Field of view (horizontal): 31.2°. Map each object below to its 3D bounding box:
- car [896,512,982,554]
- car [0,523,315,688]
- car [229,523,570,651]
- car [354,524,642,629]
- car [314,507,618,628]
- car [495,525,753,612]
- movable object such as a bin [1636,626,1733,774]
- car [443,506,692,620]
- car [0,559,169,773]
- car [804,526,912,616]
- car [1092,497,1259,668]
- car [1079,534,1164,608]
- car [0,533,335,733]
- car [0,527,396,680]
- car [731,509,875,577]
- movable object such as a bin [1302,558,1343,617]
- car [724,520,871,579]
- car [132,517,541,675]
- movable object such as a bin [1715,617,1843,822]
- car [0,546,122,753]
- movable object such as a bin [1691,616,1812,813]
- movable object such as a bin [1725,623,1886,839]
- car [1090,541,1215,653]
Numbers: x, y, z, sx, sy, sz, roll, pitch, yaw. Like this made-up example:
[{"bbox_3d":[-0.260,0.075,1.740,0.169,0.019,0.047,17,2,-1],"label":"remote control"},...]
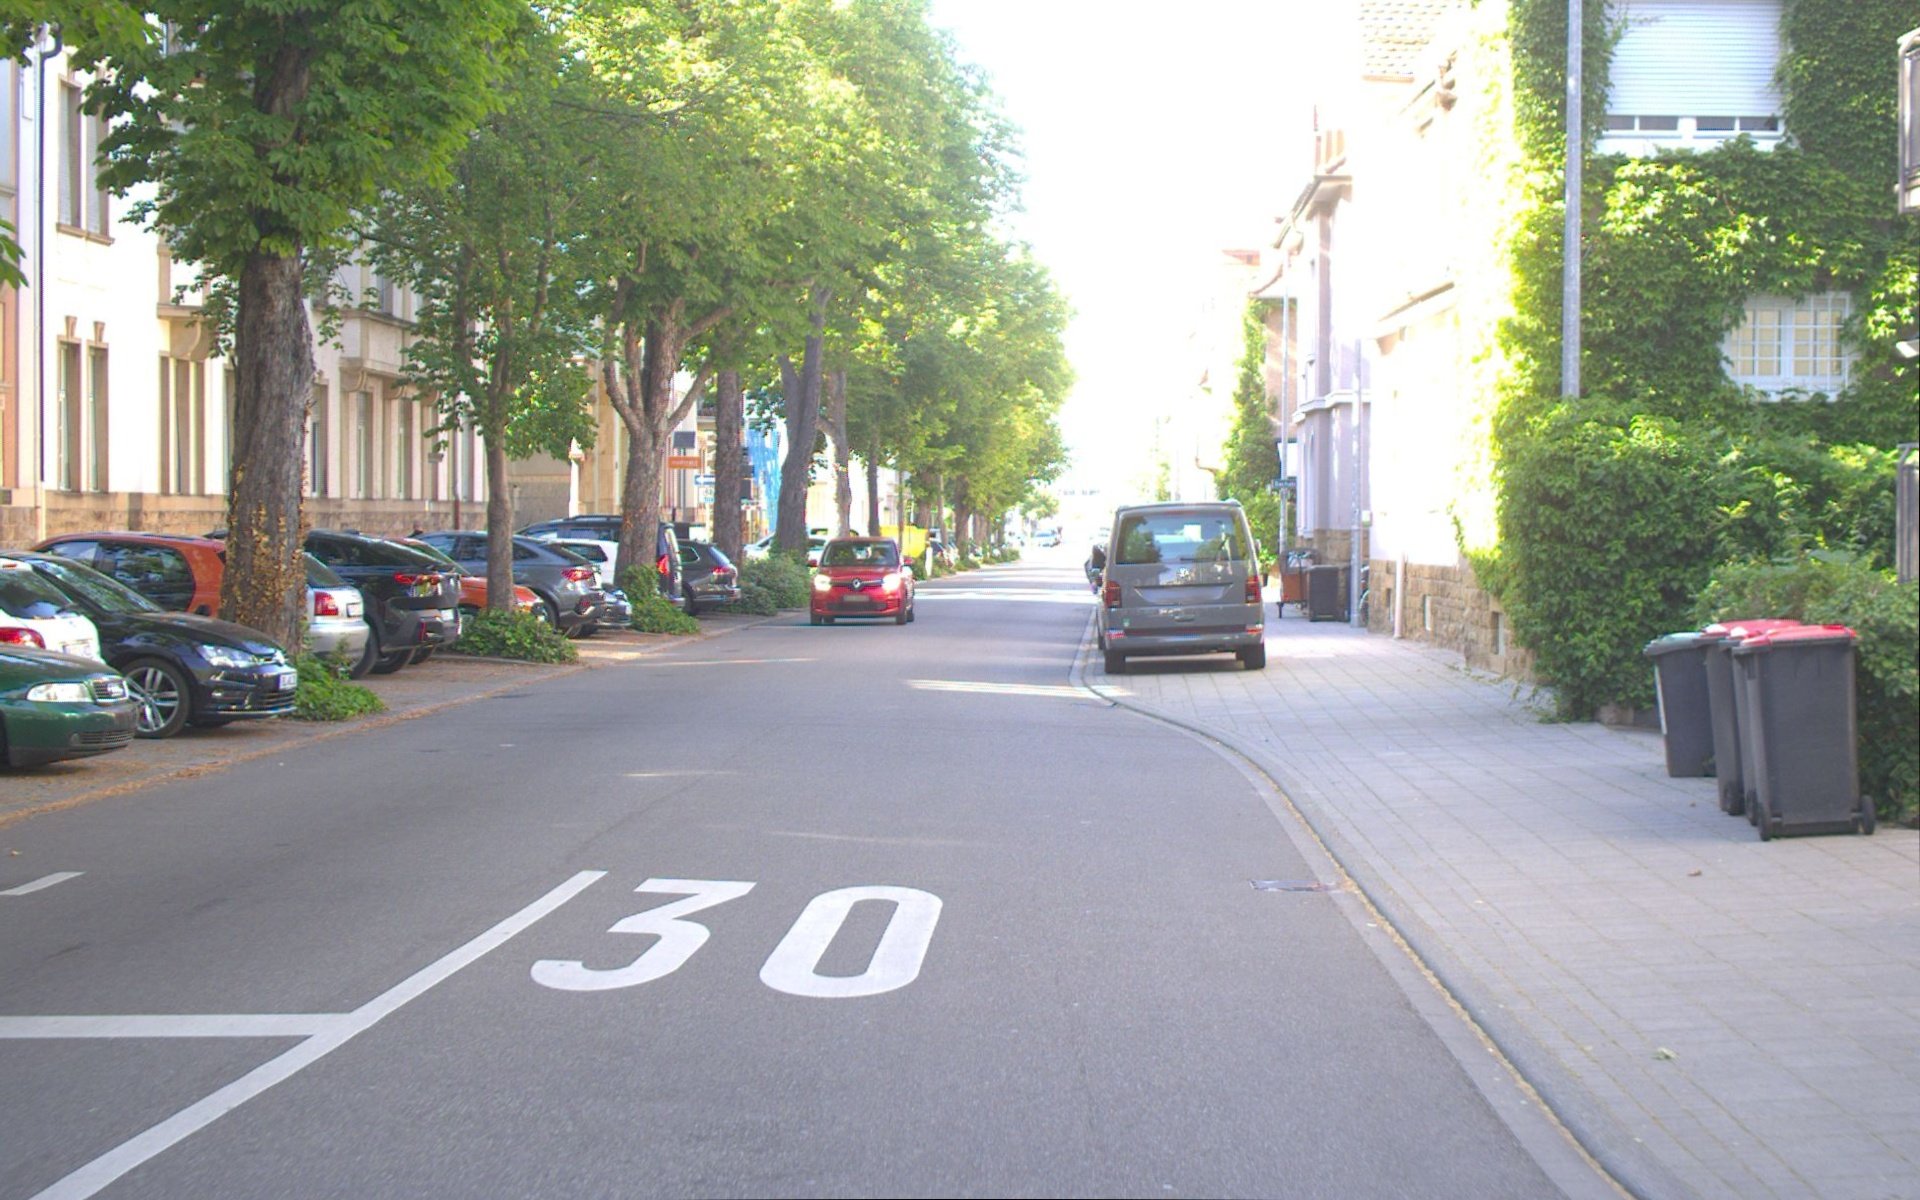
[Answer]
[{"bbox_3d":[-1.028,-3.310,169.321,4.007,1.834,2.000,3,2,5],"label":"car"},{"bbox_3d":[-8.306,0.047,32.626,3.987,1.502,1.722,0,1,4],"label":"car"},{"bbox_3d":[-7.091,-0.172,43.737,3.987,1.509,1.747,1,0,2],"label":"car"},{"bbox_3d":[-6.900,-0.373,51.573,3.903,1.441,1.859,2,1,7],"label":"car"},{"bbox_3d":[-7.002,-0.479,48.986,3.987,1.587,1.859,2,1,2],"label":"car"},{"bbox_3d":[-6.172,-0.591,63.454,4.532,1.498,1.892,1,1,1],"label":"car"},{"bbox_3d":[4.724,0.648,22.426,0.503,0.912,0.573,-3,1,4],"label":"movable object such as a bin"},{"bbox_3d":[-6.669,-0.637,58.669,3.979,1.849,1.829,1,1,1],"label":"car"},{"bbox_3d":[-7.565,0.378,22.769,4.212,1.344,1.703,1,0,2],"label":"car"},{"bbox_3d":[-1.763,-0.526,60.212,1.641,1.503,3.702,-1,1,2],"label":"car"},{"bbox_3d":[2.554,-0.251,41.387,1.865,1.909,4.782,1,1,3],"label":"car"},{"bbox_3d":[3.549,-0.671,76.177,1.699,1.534,4.155,-2,1,1],"label":"car"},{"bbox_3d":[-7.195,0.222,27.467,3.987,1.477,1.785,1,1,4],"label":"car"},{"bbox_3d":[-7.924,0.014,34.908,3.987,1.398,1.830,2,1,4],"label":"car"},{"bbox_3d":[-4.477,-1.619,98.187,3.987,1.754,1.798,3,1,-1],"label":"car"},{"bbox_3d":[6.527,-0.230,61.941,0.647,1.036,0.828,0,1,0],"label":"movable object such as a bin"},{"bbox_3d":[-4.516,-1.399,96.063,3.987,1.459,1.798,3,0,-1],"label":"car"},{"bbox_3d":[-6.709,-0.063,37.242,3.987,1.561,1.863,2,1,4],"label":"car"},{"bbox_3d":[4.407,0.635,18.523,0.483,1.041,0.657,-3,1,0],"label":"movable object such as a bin"},{"bbox_3d":[-8.090,0.310,25.116,3.434,1.447,1.703,1,0,5],"label":"car"},{"bbox_3d":[4.417,0.631,19.208,0.483,1.041,0.618,-3,1,0],"label":"movable object such as a bin"},{"bbox_3d":[4.332,0.662,17.650,0.597,1.041,0.707,-3,1,0],"label":"movable object such as a bin"},{"bbox_3d":[2.959,-0.076,52.840,1.789,1.595,4.000,-2,1,3],"label":"car"}]
